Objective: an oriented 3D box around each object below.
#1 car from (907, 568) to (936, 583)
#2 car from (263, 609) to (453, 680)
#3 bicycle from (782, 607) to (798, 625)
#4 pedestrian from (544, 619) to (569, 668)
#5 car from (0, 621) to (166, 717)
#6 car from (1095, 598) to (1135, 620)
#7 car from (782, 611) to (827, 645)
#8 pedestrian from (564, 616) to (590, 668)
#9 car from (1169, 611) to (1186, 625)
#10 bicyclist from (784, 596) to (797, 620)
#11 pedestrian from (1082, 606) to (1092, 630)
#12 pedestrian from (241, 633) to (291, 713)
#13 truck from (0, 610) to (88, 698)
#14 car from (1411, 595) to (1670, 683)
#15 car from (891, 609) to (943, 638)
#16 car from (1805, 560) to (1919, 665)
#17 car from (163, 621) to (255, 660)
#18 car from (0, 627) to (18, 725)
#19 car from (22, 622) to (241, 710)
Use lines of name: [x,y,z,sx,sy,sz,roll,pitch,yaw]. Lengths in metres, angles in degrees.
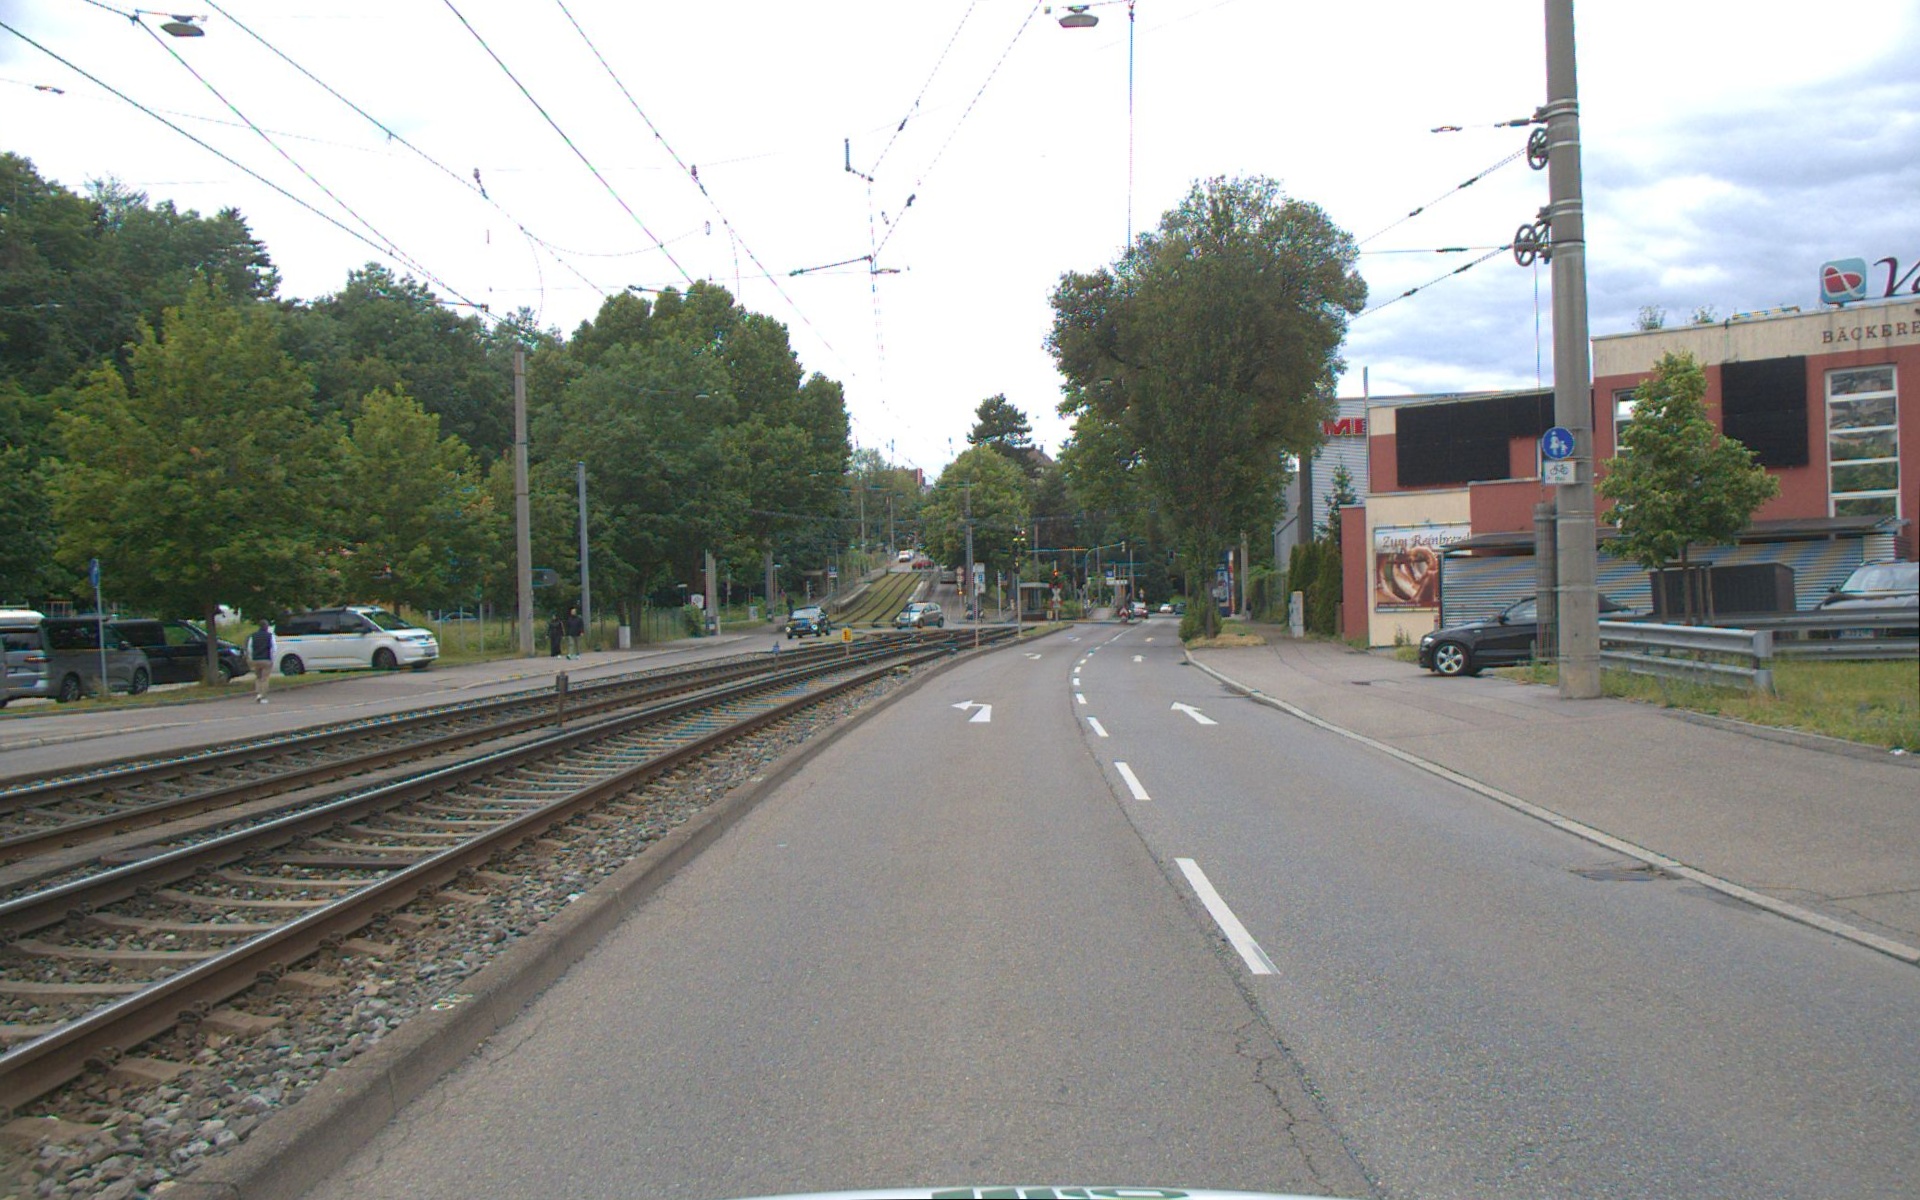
car: [-5.814,-3.634,248.576,3.902,2.049,2.002,-2,-1,13]
car: [-17.805,1.332,48.950,4.948,1.921,2.167,-2,-2,16]
bicycle: [-13.793,1.290,134.346,0.810,1.367,2.984,-2,-1,-15]
pedestrian: [-14.474,1.558,59.303,0.615,1.743,0.856,0,0,4]
car: [-21.034,1.581,39.135,1.953,2.049,5.129,-2,0,0]
car: [11.186,0.660,119.250,1.952,1.542,4.503,-1,0,18]
car: [-8.104,1.453,86.471,1.652,1.558,4.257,-5,-1,2]
pedestrian: [-13.725,1.504,59.256,0.662,1.845,0.856,0,0,4]
car: [28.568,2.374,217.657,1.952,1.847,4.002,-2,0,4]
bicyclist: [-13.785,0.671,134.216,0.808,1.881,1.047,-2,-1,-16]
pedestrian: [10.076,1.429,131.029,0.752,1.885,0.910,-2,-1,5]
pedestrian: [-14.970,1.562,35.690,0.704,1.685,1.041,0,0,-6]
truck: [-30.502,1.732,52.609,4.957,2.633,2.466,-2,-1,27]
car: [10.396,0.681,29.687,4.141,1.468,1.760,-1,0,30]
car: [-2.747,1.463,105.509,1.851,1.558,4.258,-5,-1,19]
car: [15.720,0.156,26.905,4.486,1.575,2.126,-2,-1,-44]
car: [-42.208,2.237,93.031,1.958,2.049,4.391,-2,-1,33]
car: [-21.089,1.611,32.803,1.953,2.049,4.918,-2,0,0]
car: [-22.280,1.734,44.566,5.015,2.049,2.139,-2,-1,-35]
